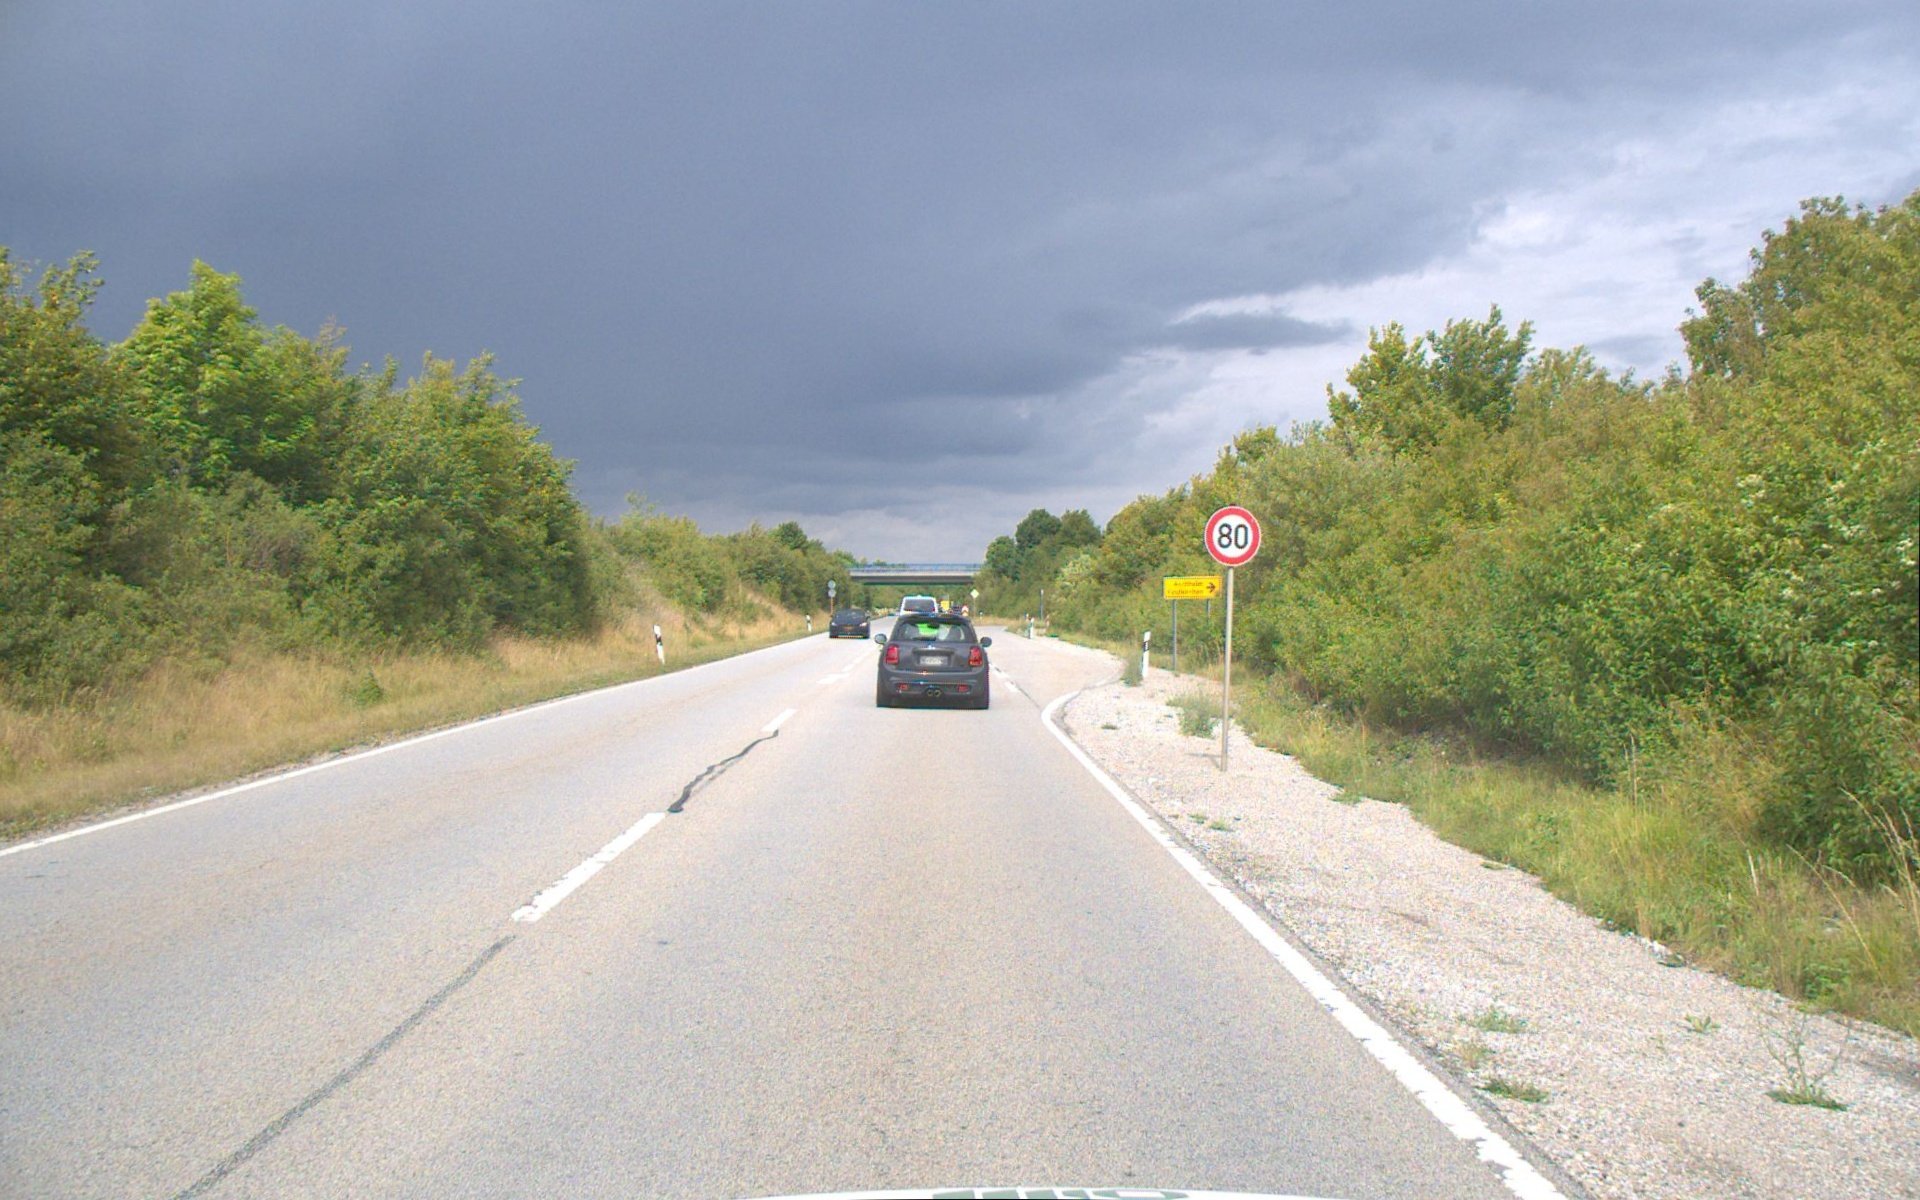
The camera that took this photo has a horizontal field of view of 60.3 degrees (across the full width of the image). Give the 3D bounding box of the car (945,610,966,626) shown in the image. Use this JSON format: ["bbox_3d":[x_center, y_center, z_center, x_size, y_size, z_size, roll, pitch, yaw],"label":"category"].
[{"bbox_3d":[-0.470,1.880,173.946,1.954,1.579,3.997,2,0,-3],"label":"car"}]

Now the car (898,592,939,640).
[{"bbox_3d":[-1.911,0.716,75.725,1.782,2.090,3.999,1,0,-1],"label":"car"}]

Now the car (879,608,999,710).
[{"bbox_3d":[-0.358,0.881,26.234,1.721,1.452,3.999,2,0,-1],"label":"car"}]

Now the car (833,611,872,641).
[{"bbox_3d":[-5.038,1.204,77.794,1.666,1.353,3.998,0,0,-2],"label":"car"}]

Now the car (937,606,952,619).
[{"bbox_3d":[-2.082,1.709,222.936,1.745,1.736,3.997,1,0,-3],"label":"car"}]
